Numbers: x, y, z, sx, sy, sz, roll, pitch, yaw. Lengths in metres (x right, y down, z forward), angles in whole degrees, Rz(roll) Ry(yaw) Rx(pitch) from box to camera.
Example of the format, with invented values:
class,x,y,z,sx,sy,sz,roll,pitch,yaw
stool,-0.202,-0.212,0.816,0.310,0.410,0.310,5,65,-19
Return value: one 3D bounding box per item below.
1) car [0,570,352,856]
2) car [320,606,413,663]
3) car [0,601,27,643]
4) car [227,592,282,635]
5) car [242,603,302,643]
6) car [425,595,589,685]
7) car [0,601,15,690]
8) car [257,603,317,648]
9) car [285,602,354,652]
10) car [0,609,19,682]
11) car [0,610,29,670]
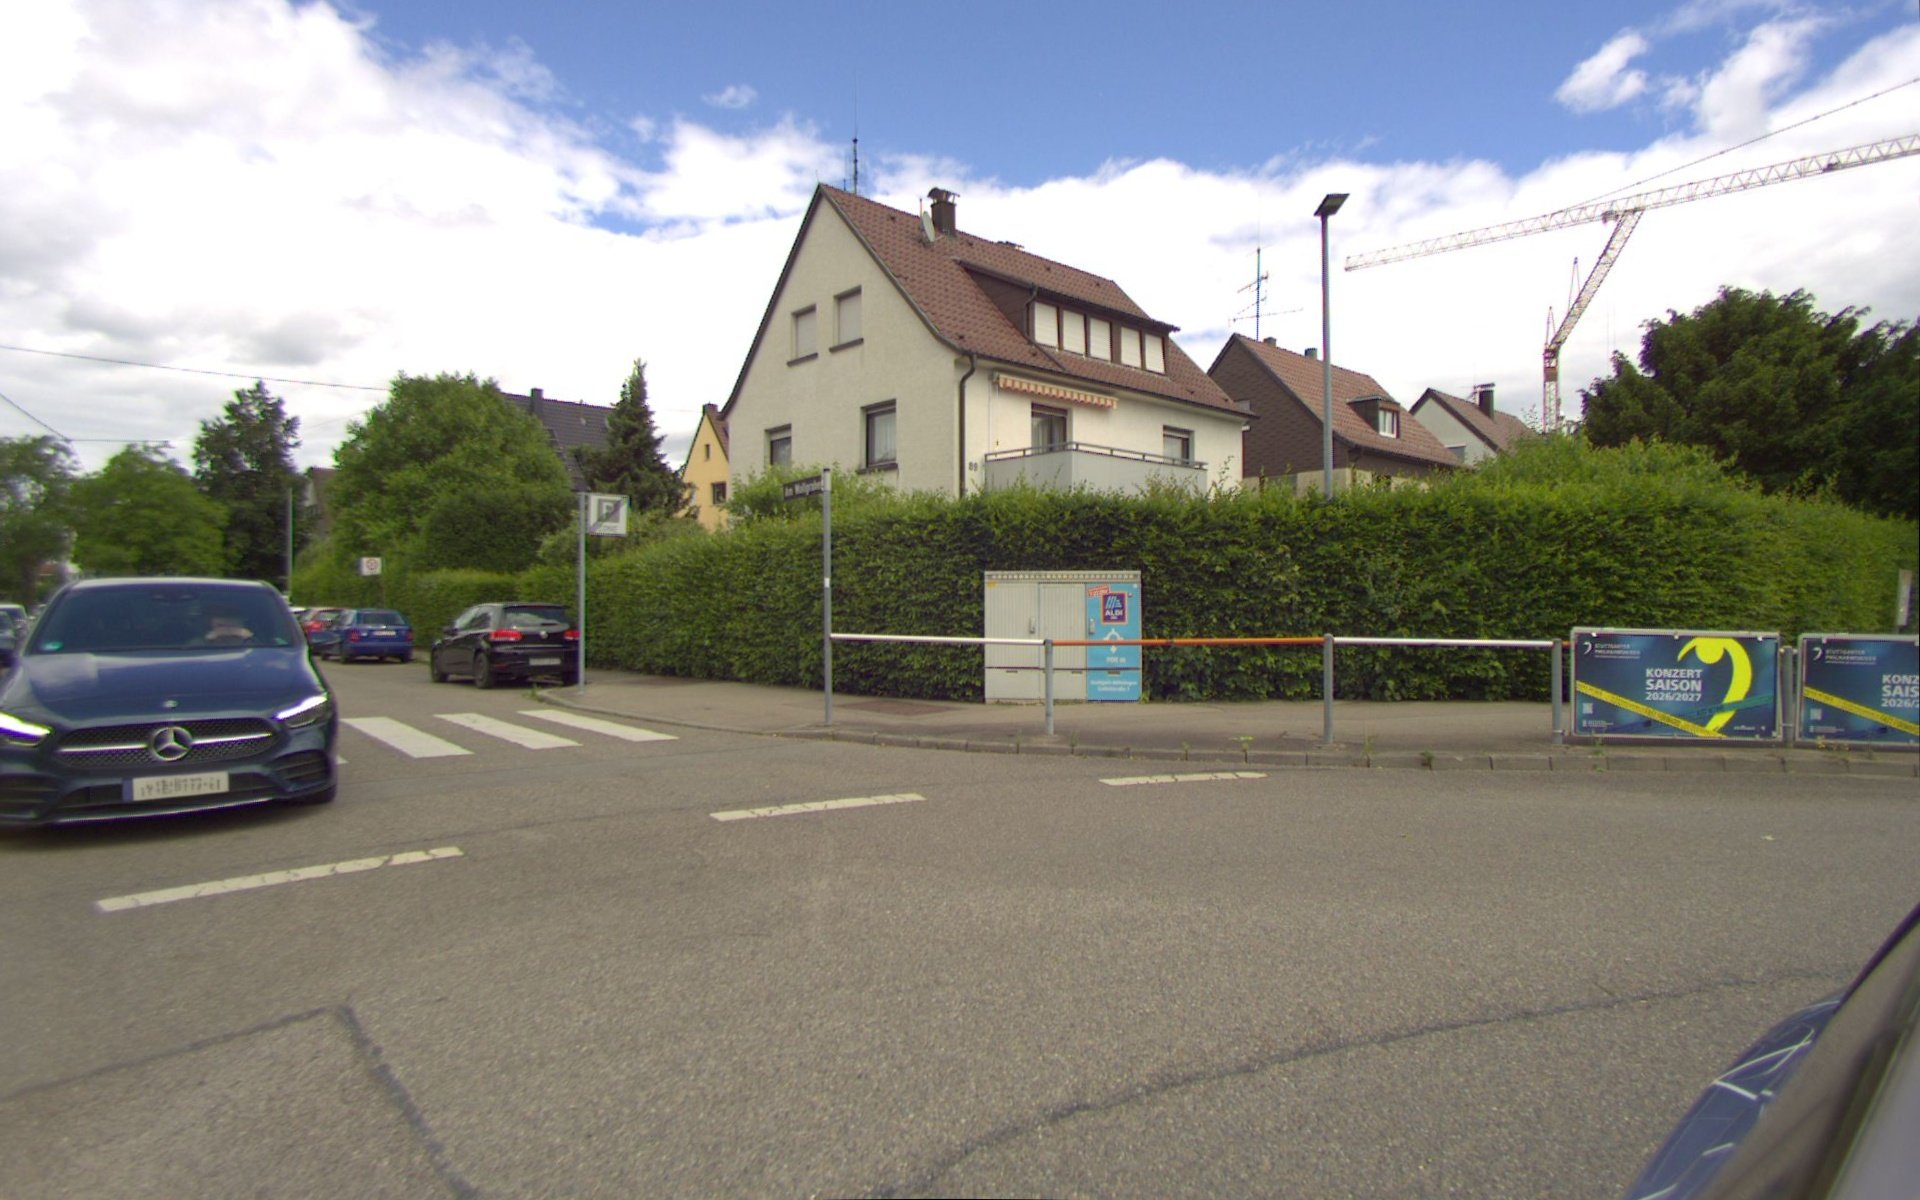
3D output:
class,x,y,z,sx,sy,sz,roll,pitch,yaw
car,-5.638,0.577,7.392,1.554,1.467,4.317,1,0,-38
car,-16.026,0.880,27.244,1.542,1.384,3.434,1,0,-41
car,-36.996,0.840,38.870,1.525,1.502,3.559,-3,3,-41
car,-29.847,0.541,42.781,1.516,1.707,3.424,1,0,-41
car,-26.599,0.859,39.100,1.516,1.407,3.424,1,0,-41
car,-8.303,0.691,18.415,1.679,1.473,3.608,1,-2,-43
car,-17.861,0.758,17.887,1.524,1.421,3.849,1,0,-41
car,-23.453,0.847,35.223,1.311,1.437,3.331,1,0,-41
car,-19.958,0.811,31.497,1.311,1.437,3.206,1,0,-41
car,-21.598,0.951,22.002,1.524,1.421,3.849,1,0,-41
car,-25.143,1.020,26.039,1.573,1.355,3.908,-4,3,-41
